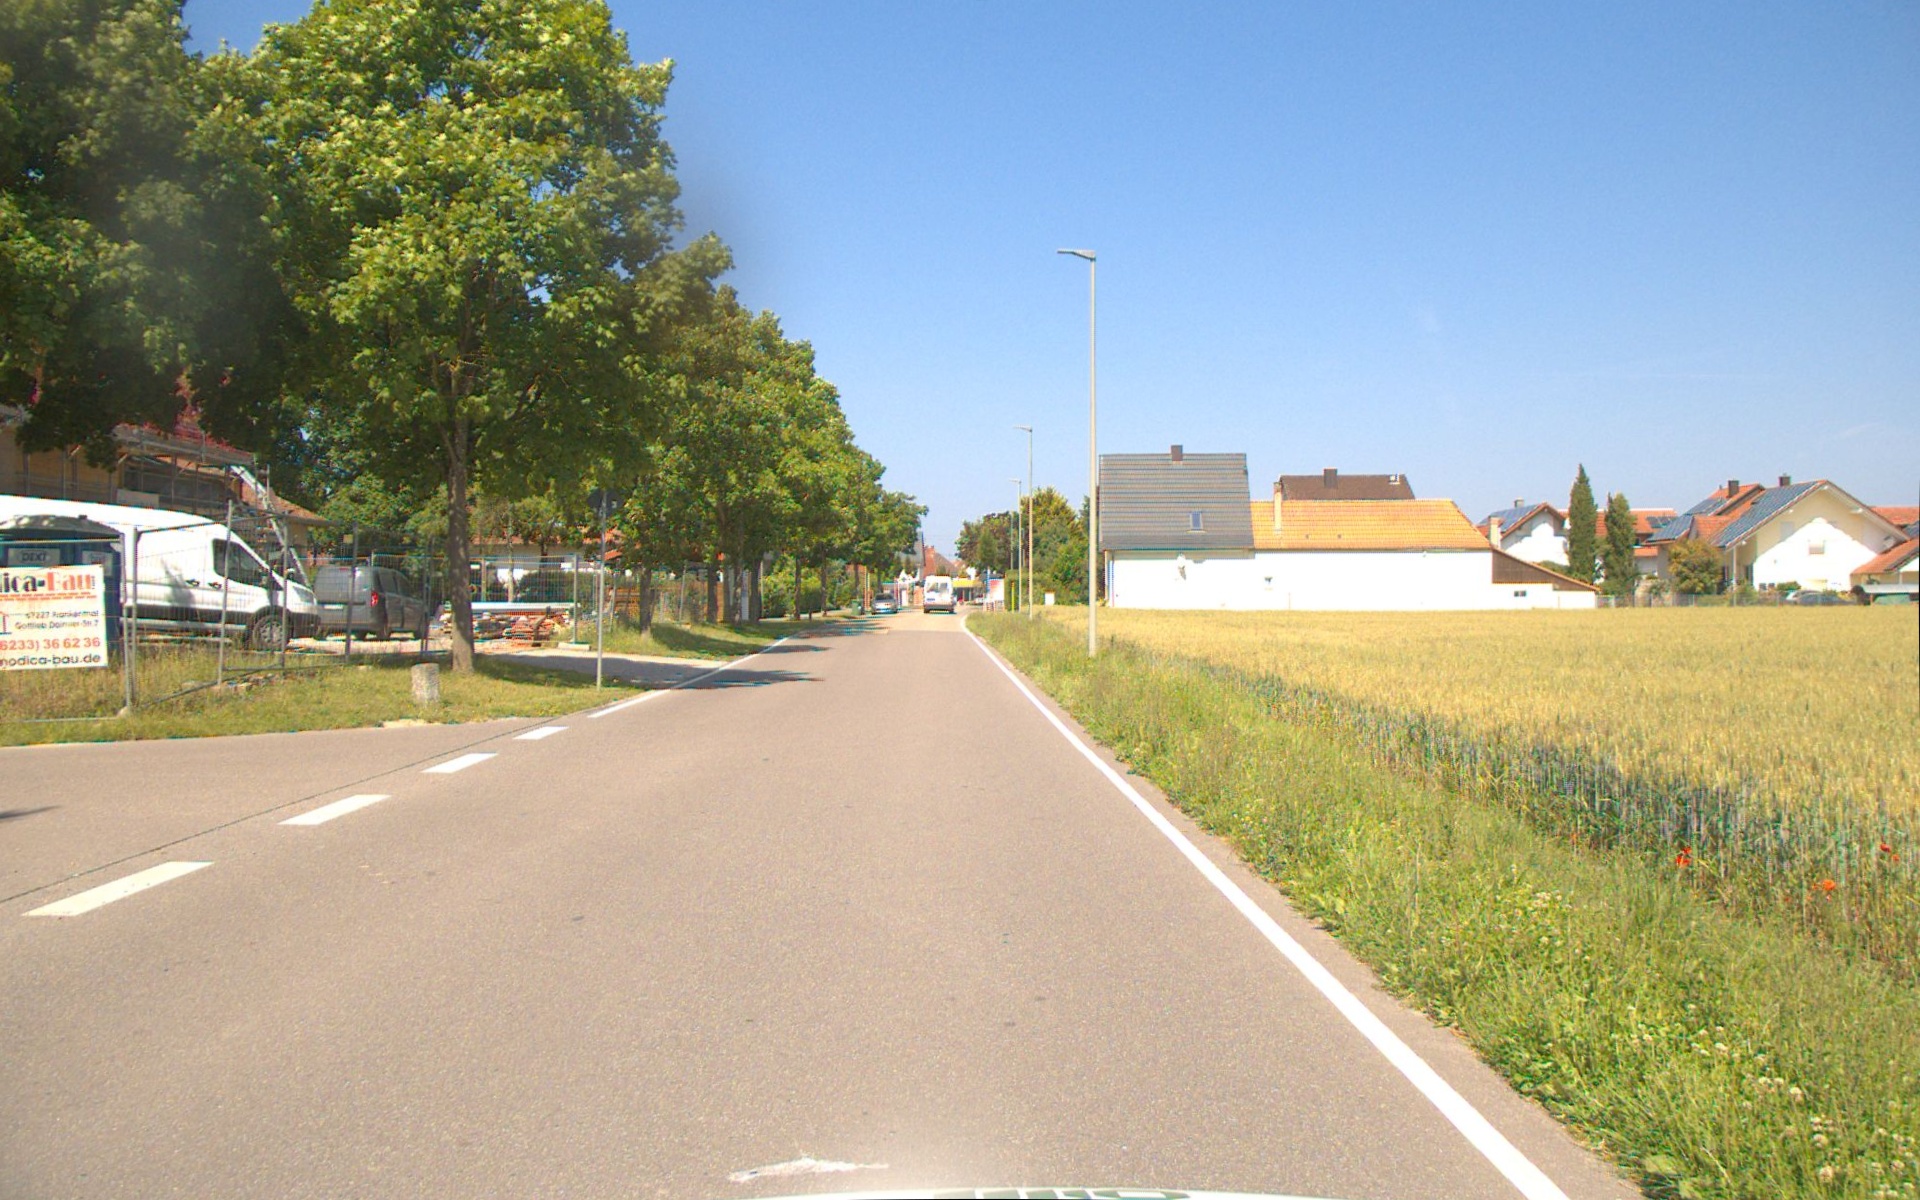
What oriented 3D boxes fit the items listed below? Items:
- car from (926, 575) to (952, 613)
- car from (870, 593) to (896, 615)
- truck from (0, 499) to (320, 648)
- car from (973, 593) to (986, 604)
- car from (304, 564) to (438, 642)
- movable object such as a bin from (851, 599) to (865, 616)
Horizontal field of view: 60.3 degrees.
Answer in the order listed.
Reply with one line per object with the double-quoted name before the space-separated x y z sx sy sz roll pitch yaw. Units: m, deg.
"car" -1.417 -0.398 113.012 1.702 2.474 4.374 -1 0 0
"car" -5.392 0.251 115.736 1.614 1.448 4.079 -3 0 -1
"truck" -15.090 -0.442 30.465 5.872 2.527 1.972 0 0 -39
"car" 2.897 -0.176 243.903 1.632 1.550 3.441 -2 0 -2
"car" -14.817 0.062 41.870 1.930 1.870 4.327 0 0 -2
"movable object such as a bin" -6.827 0.498 110.253 0.699 1.097 0.639 -1 0 26
